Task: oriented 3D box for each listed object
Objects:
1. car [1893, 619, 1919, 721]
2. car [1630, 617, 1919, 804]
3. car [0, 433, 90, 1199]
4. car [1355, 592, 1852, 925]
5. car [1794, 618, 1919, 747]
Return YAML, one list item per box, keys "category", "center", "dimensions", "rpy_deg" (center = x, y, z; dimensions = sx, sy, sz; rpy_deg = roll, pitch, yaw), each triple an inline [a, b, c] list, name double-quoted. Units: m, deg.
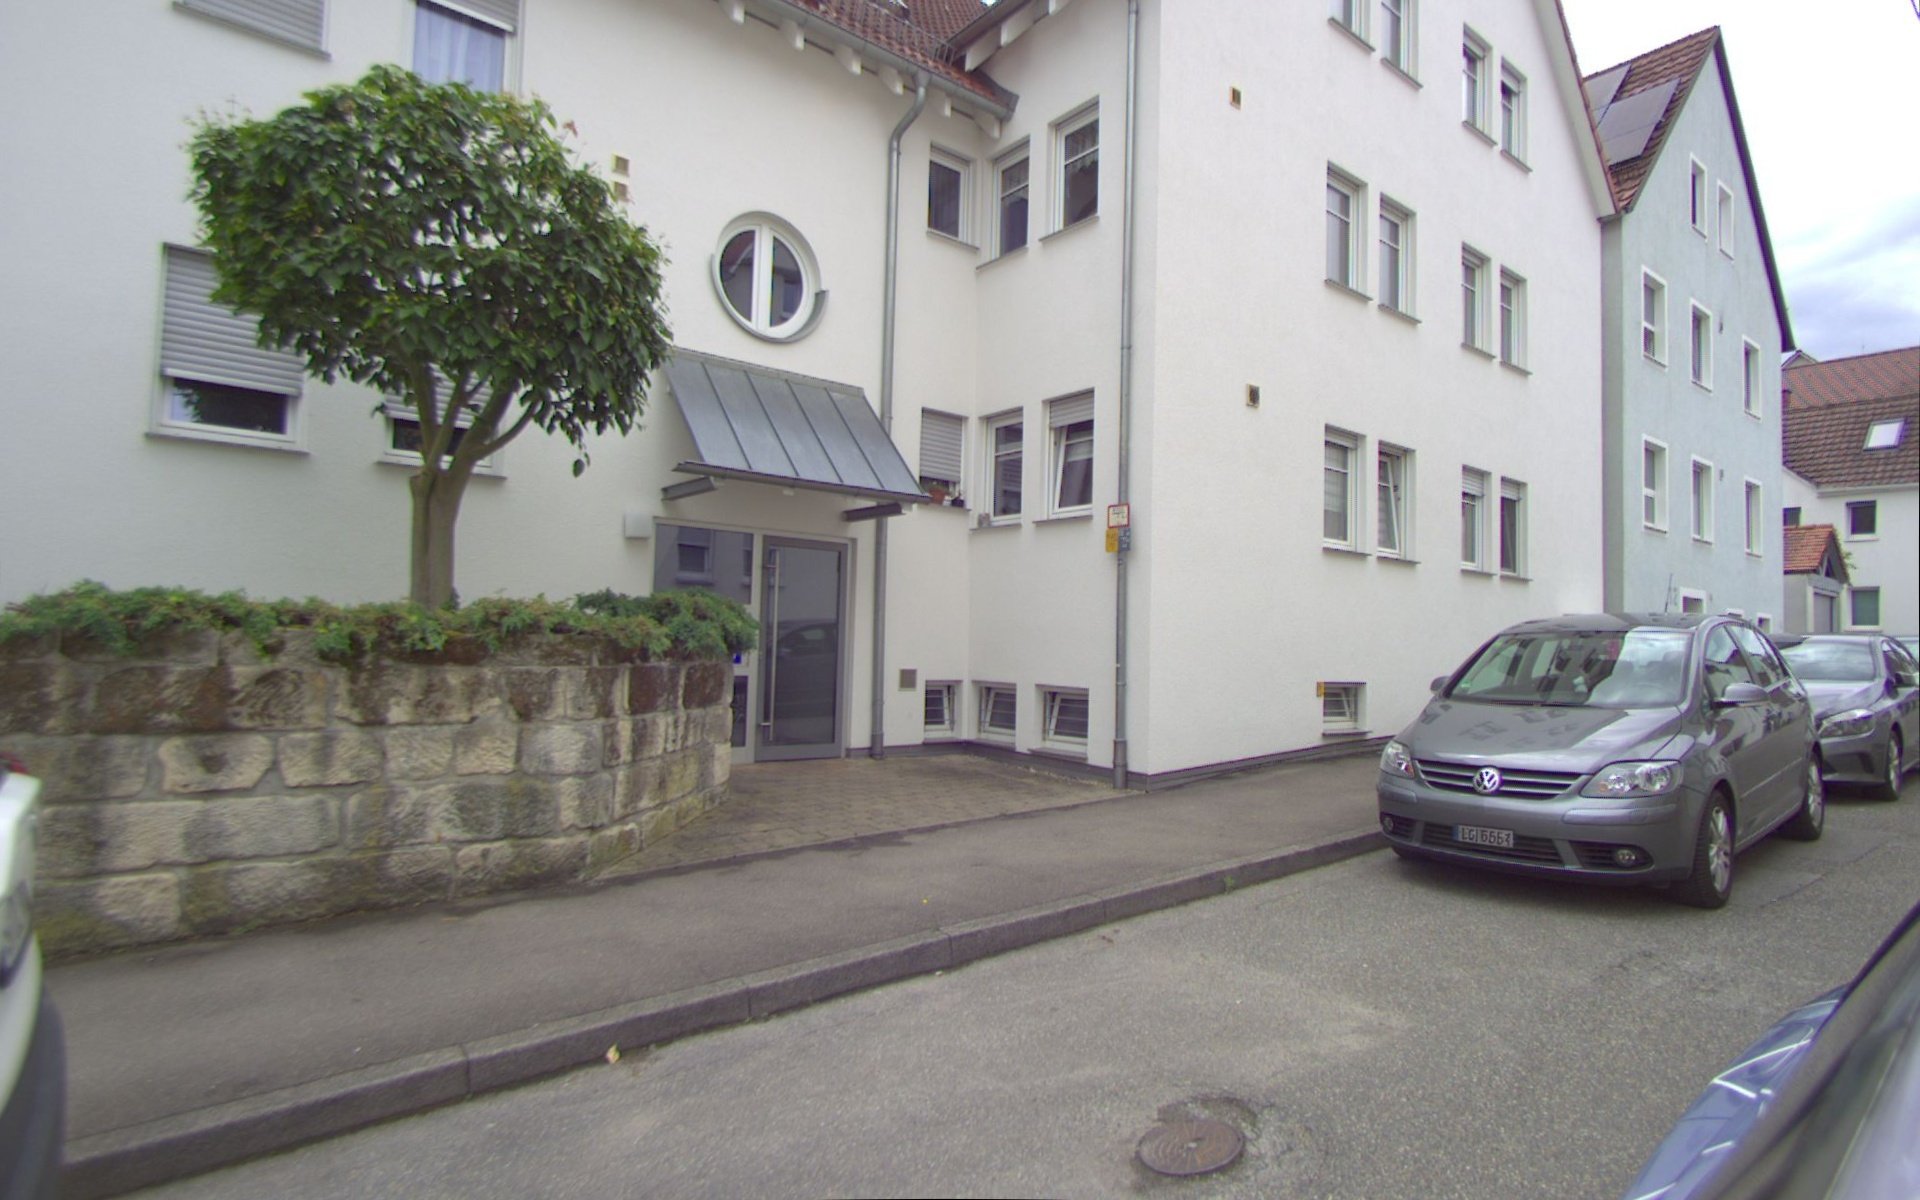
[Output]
- category: "car"
  center: [16.245, 1.115, 15.962]
  dimensions: [3.770, 1.532, 1.642]
  rpy_deg: [3, -4, -38]
- category: "car"
  center: [8.364, 0.932, 9.889]
  dimensions: [3.885, 1.462, 1.812]
  rpy_deg: [1, -3, -37]
- category: "car"
  center: [-3.319, 0.623, 0.452]
  dimensions: [4.381, 1.661, 1.949]
  rpy_deg: [2, -3, -41]
- category: "car"
  center: [4.443, 0.820, 6.771]
  dimensions: [3.840, 1.584, 1.737]
  rpy_deg: [1, -3, -41]
- category: "car"
  center: [12.403, 1.015, 13.050]
  dimensions: [4.187, 1.462, 1.728]
  rpy_deg: [2, -4, -39]
